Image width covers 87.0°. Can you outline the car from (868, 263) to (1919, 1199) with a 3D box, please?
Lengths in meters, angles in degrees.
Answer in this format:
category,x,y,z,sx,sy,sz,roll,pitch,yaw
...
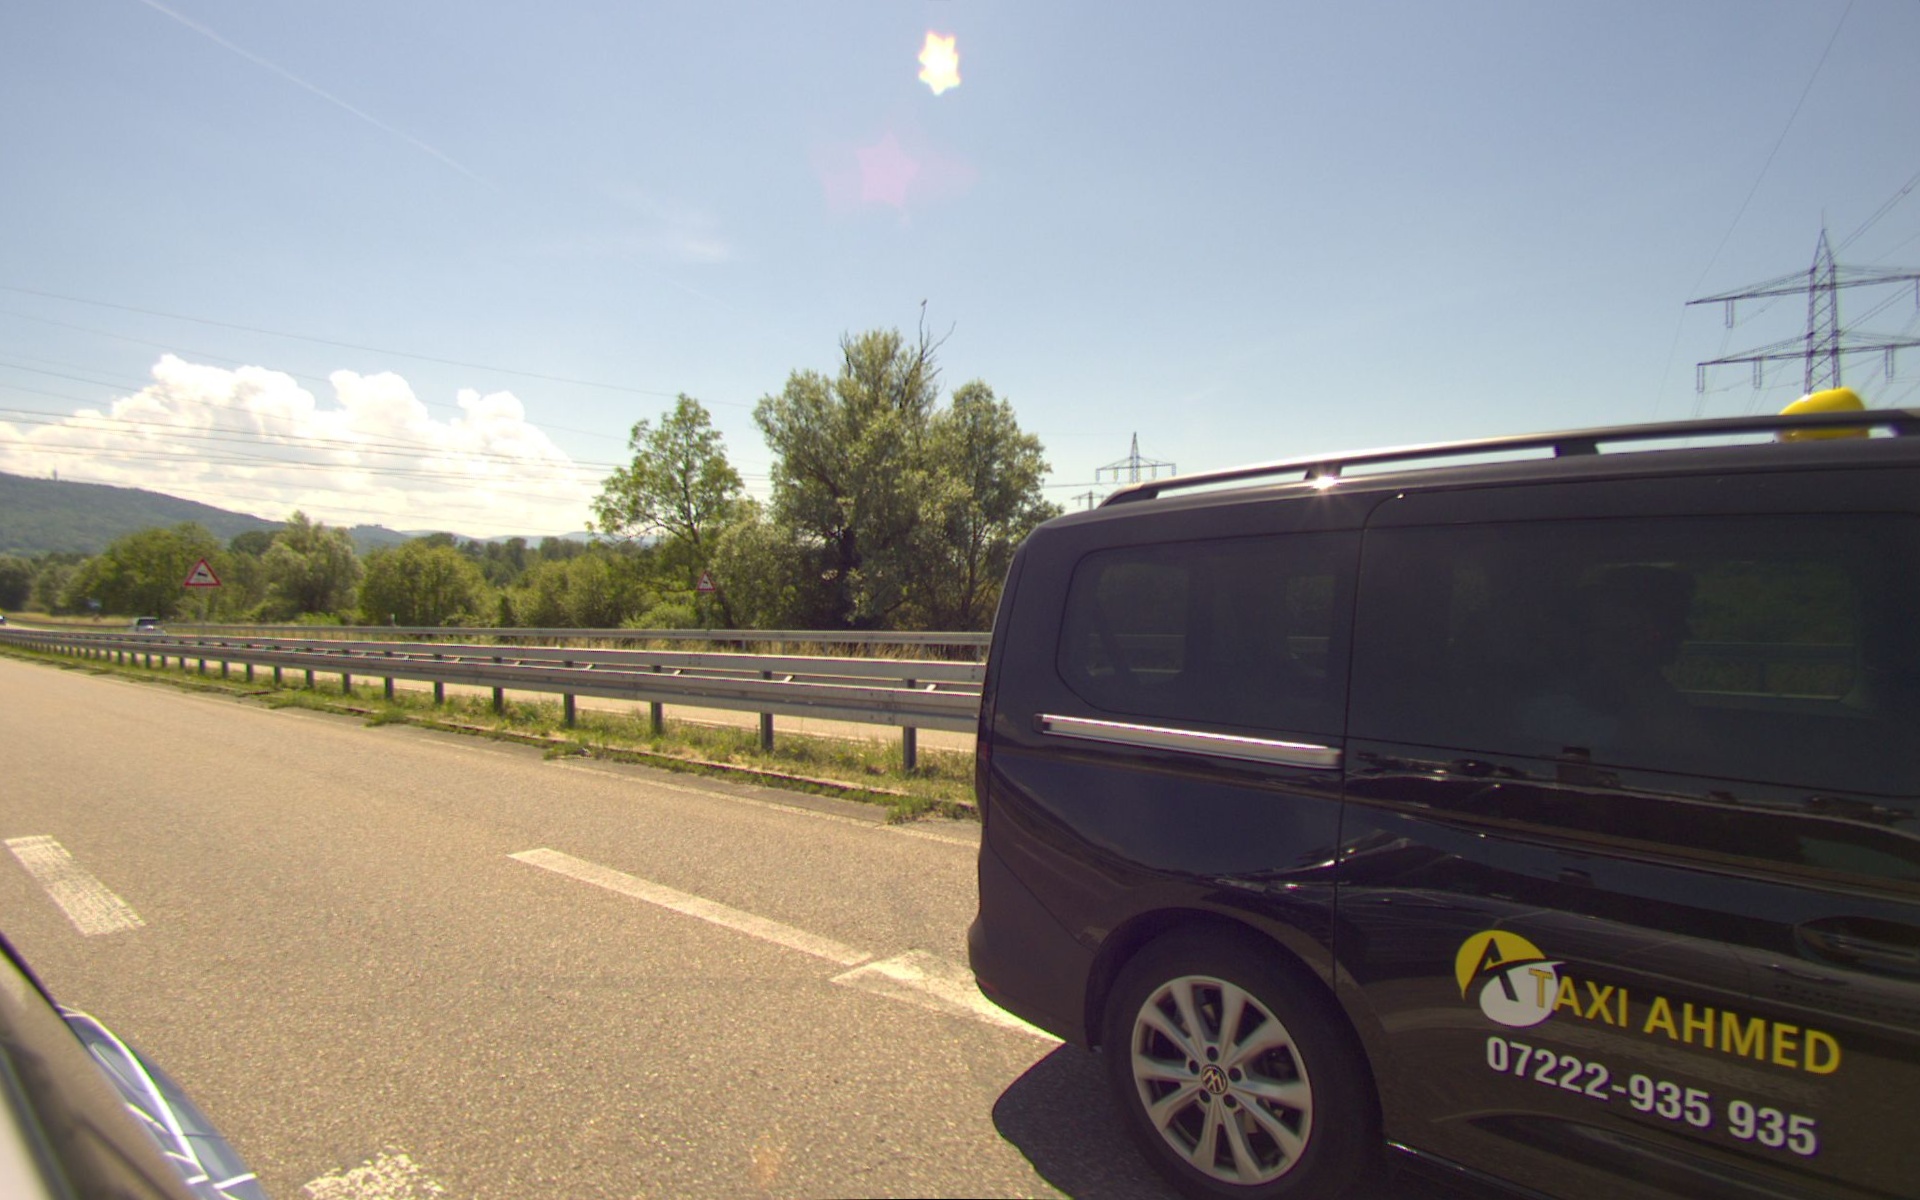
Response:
category,x,y,z,sx,sy,sz,roll,pitch,yaw
car,2.437,0.432,1.914,5.569,1.901,1.835,-1,-1,40

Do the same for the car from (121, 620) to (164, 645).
category,x,y,z,sx,sy,sz,roll,pitch,yaw
car,-50.267,1.969,62.208,3.700,1.460,1.517,-1,-1,42
